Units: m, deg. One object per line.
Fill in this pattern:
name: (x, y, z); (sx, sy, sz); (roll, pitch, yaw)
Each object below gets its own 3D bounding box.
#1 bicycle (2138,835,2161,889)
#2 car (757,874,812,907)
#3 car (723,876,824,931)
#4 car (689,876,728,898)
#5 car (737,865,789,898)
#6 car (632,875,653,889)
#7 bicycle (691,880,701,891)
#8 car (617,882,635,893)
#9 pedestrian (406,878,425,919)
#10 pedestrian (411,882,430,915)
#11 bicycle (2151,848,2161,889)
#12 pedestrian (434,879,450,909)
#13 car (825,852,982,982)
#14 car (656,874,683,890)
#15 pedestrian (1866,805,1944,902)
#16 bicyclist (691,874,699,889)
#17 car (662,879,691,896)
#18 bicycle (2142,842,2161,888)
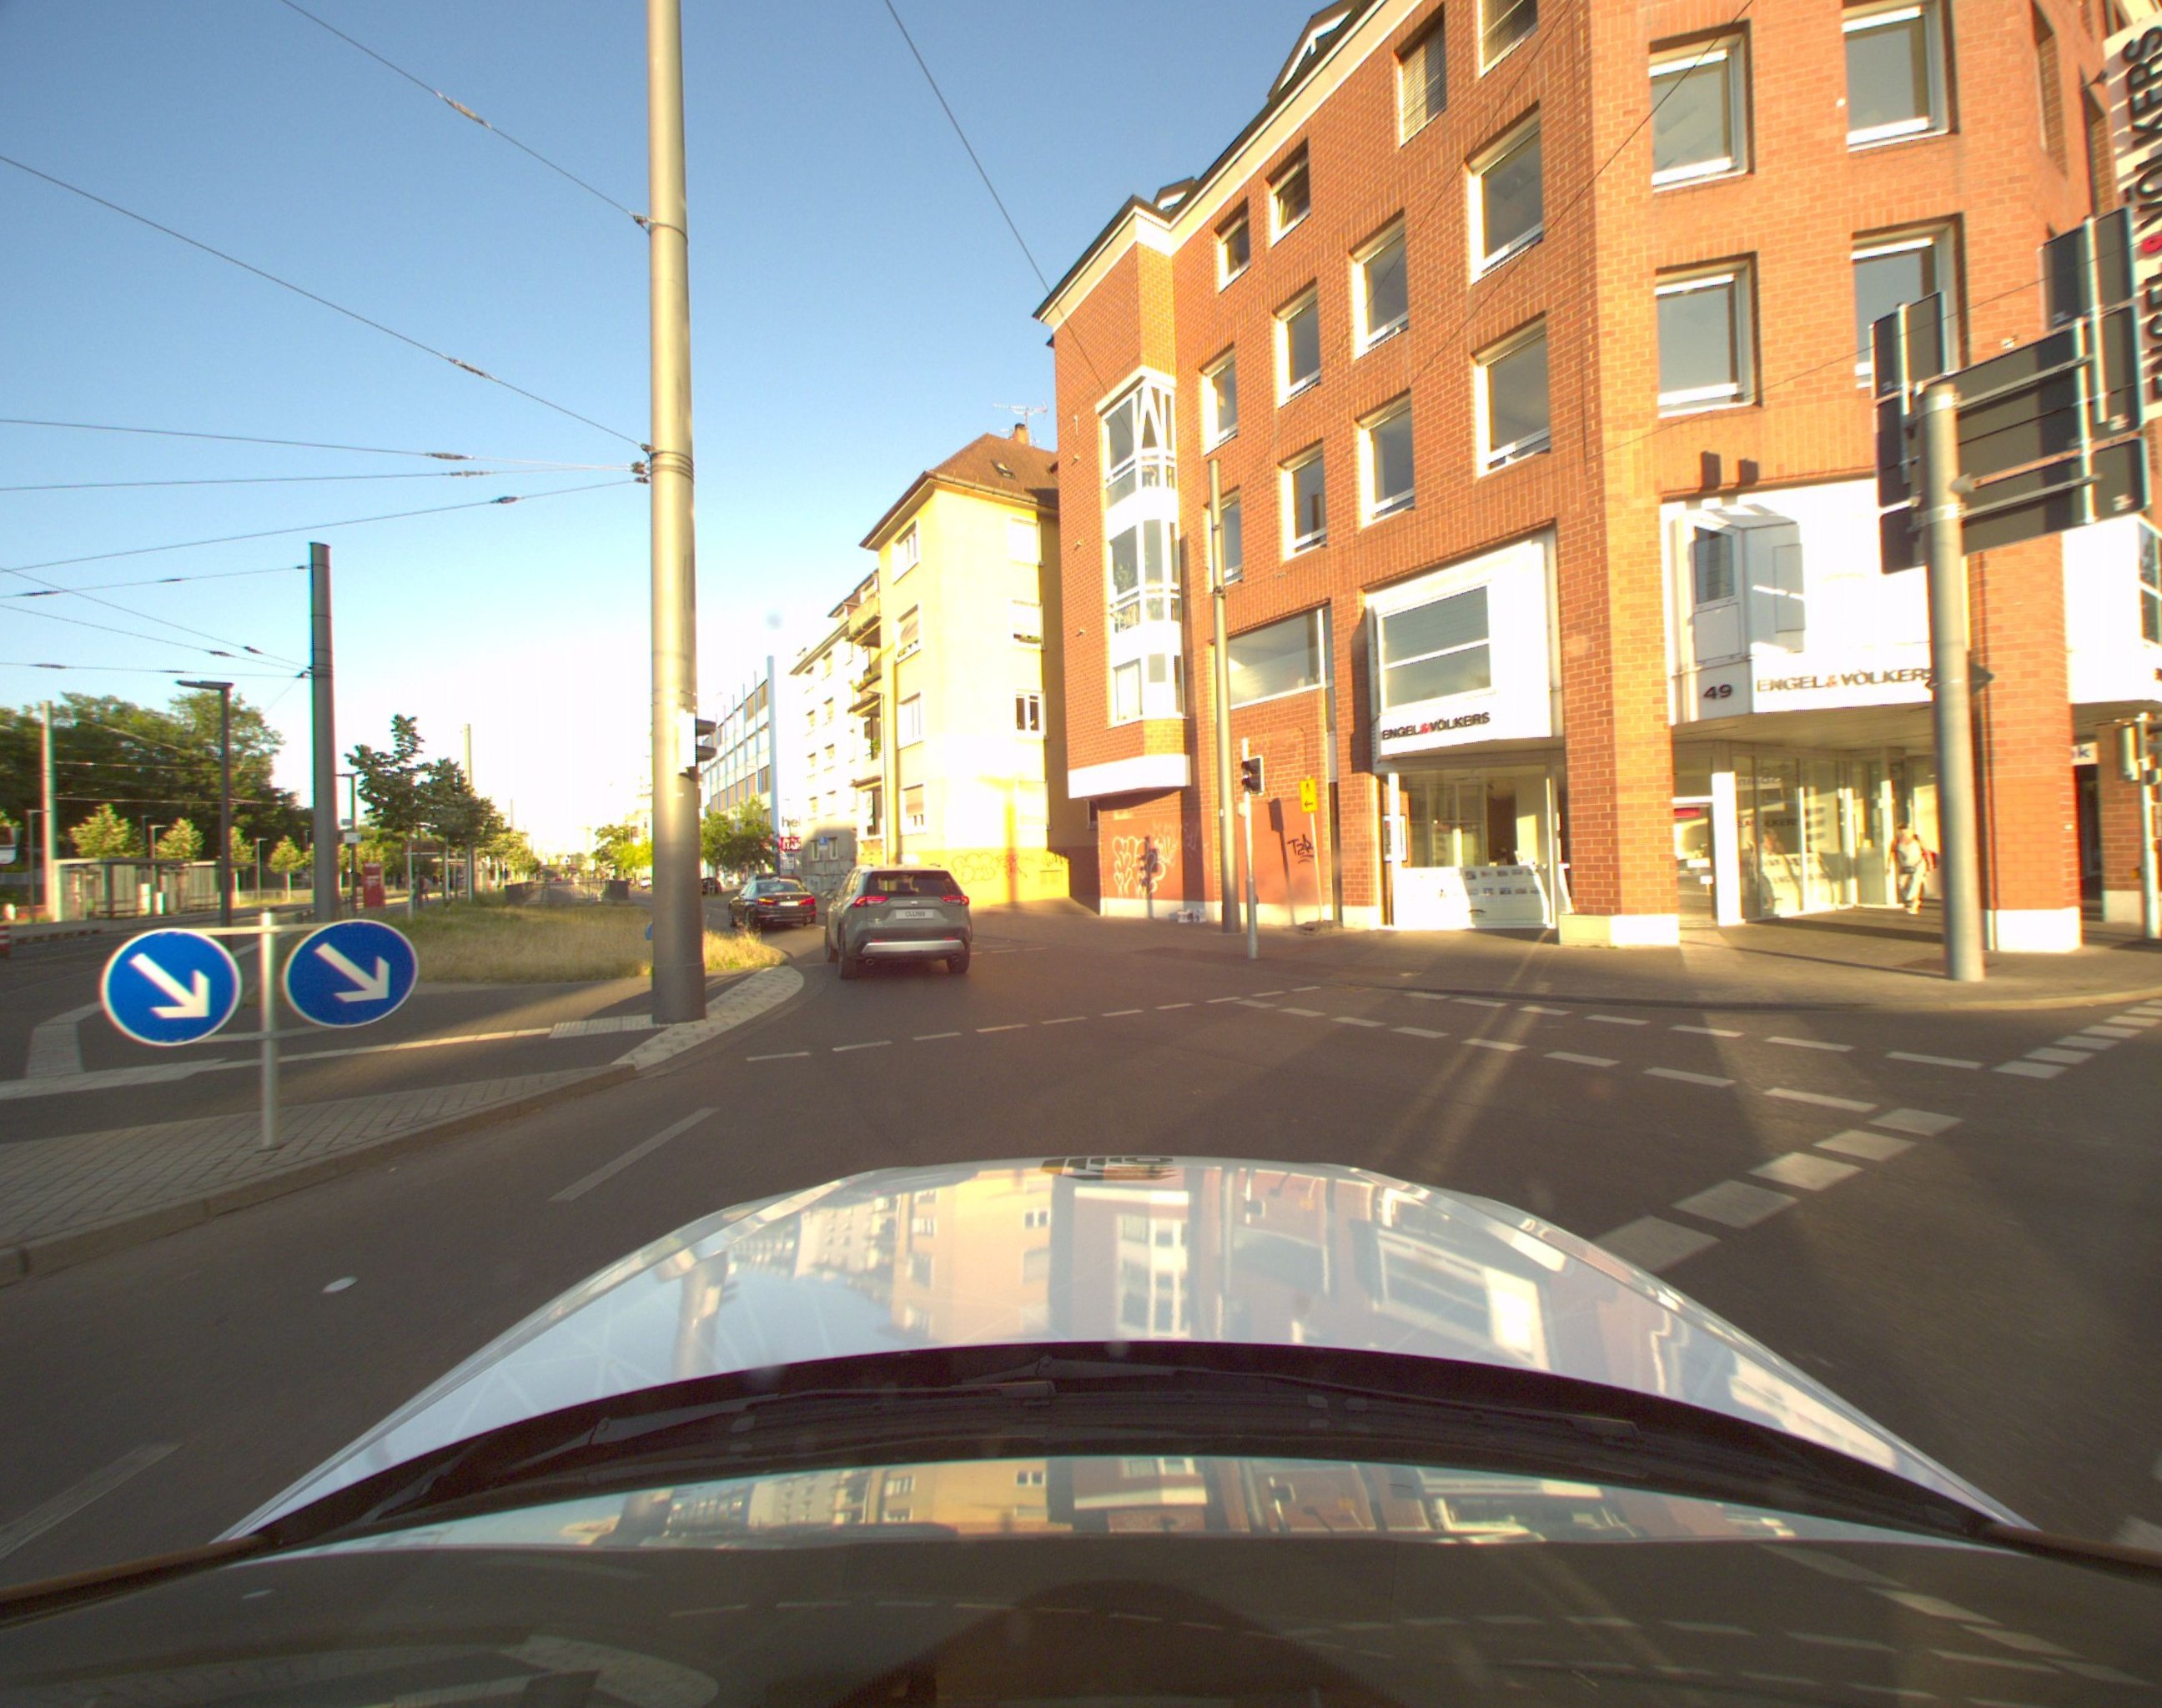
bicycle: (22.870, 0.125, 15.827); (0.814, 1.103, 2.714); (-2, -1, -28)
car: (-15.044, 1.832, 41.239); (1.682, 1.518, 3.561); (-3, 0, -36)
car: (-9.156, 1.422, 24.076); (1.871, 1.462, 4.147); (0, -2, -35)
car: (-28.593, 2.518, 62.481); (1.833, 1.567, 4.758); (-2, 0, -35)
car: (-17.854, 1.556, 45.637); (1.769, 1.654, 4.481); (-4, 0, -33)
car: (-56.793, 3.592, 105.399); (1.868, 1.706, 4.207); (-2, 0, -35)
bicycle: (-40.506, 3.340, 85.623); (0.558, 1.129, 1.952); (-5, 1, -35)
car: (-72.483, 5.344, 129.746); (1.807, 1.471, 4.396); (-5, 1, -36)
pedestrian: (-29.416, 1.945, 35.997); (0.473, 1.787, 0.620); (-2, -1, -26)
pedestrian: (-36.331, 2.424, 44.785); (0.731, 1.744, 0.629); (-2, 0, -41)
bicycle: (24.620, 0.273, 16.980); (0.815, 0.863, 2.711); (-2, -1, -32)
pedestrian: (-38.169, 2.403, 48.641); (0.628, 1.729, 0.640); (-3, -1, 44)
car: (-3.019, 0.913, 13.097); (1.865, 1.714, 4.162); (0, -2, -21)
car: (-40.950, 2.769, 80.984); (1.833, 1.454, 4.083); (-3, 0, -35)
pedestrian: (15.662, -0.027, 15.483); (0.932, 1.751, 0.806); (-2, 2, -27)
bicyclist: (-40.598, 2.869, 85.689); (0.562, 1.475, 0.616); (-5, 1, -35)
car: (-35.834, 2.939, 72.171); (1.696, 1.454, 4.085); (-1, -1, -35)
bicycle: (23.652, 0.185, 16.366); (0.814, 0.972, 2.714); (-1, -2, -28)
